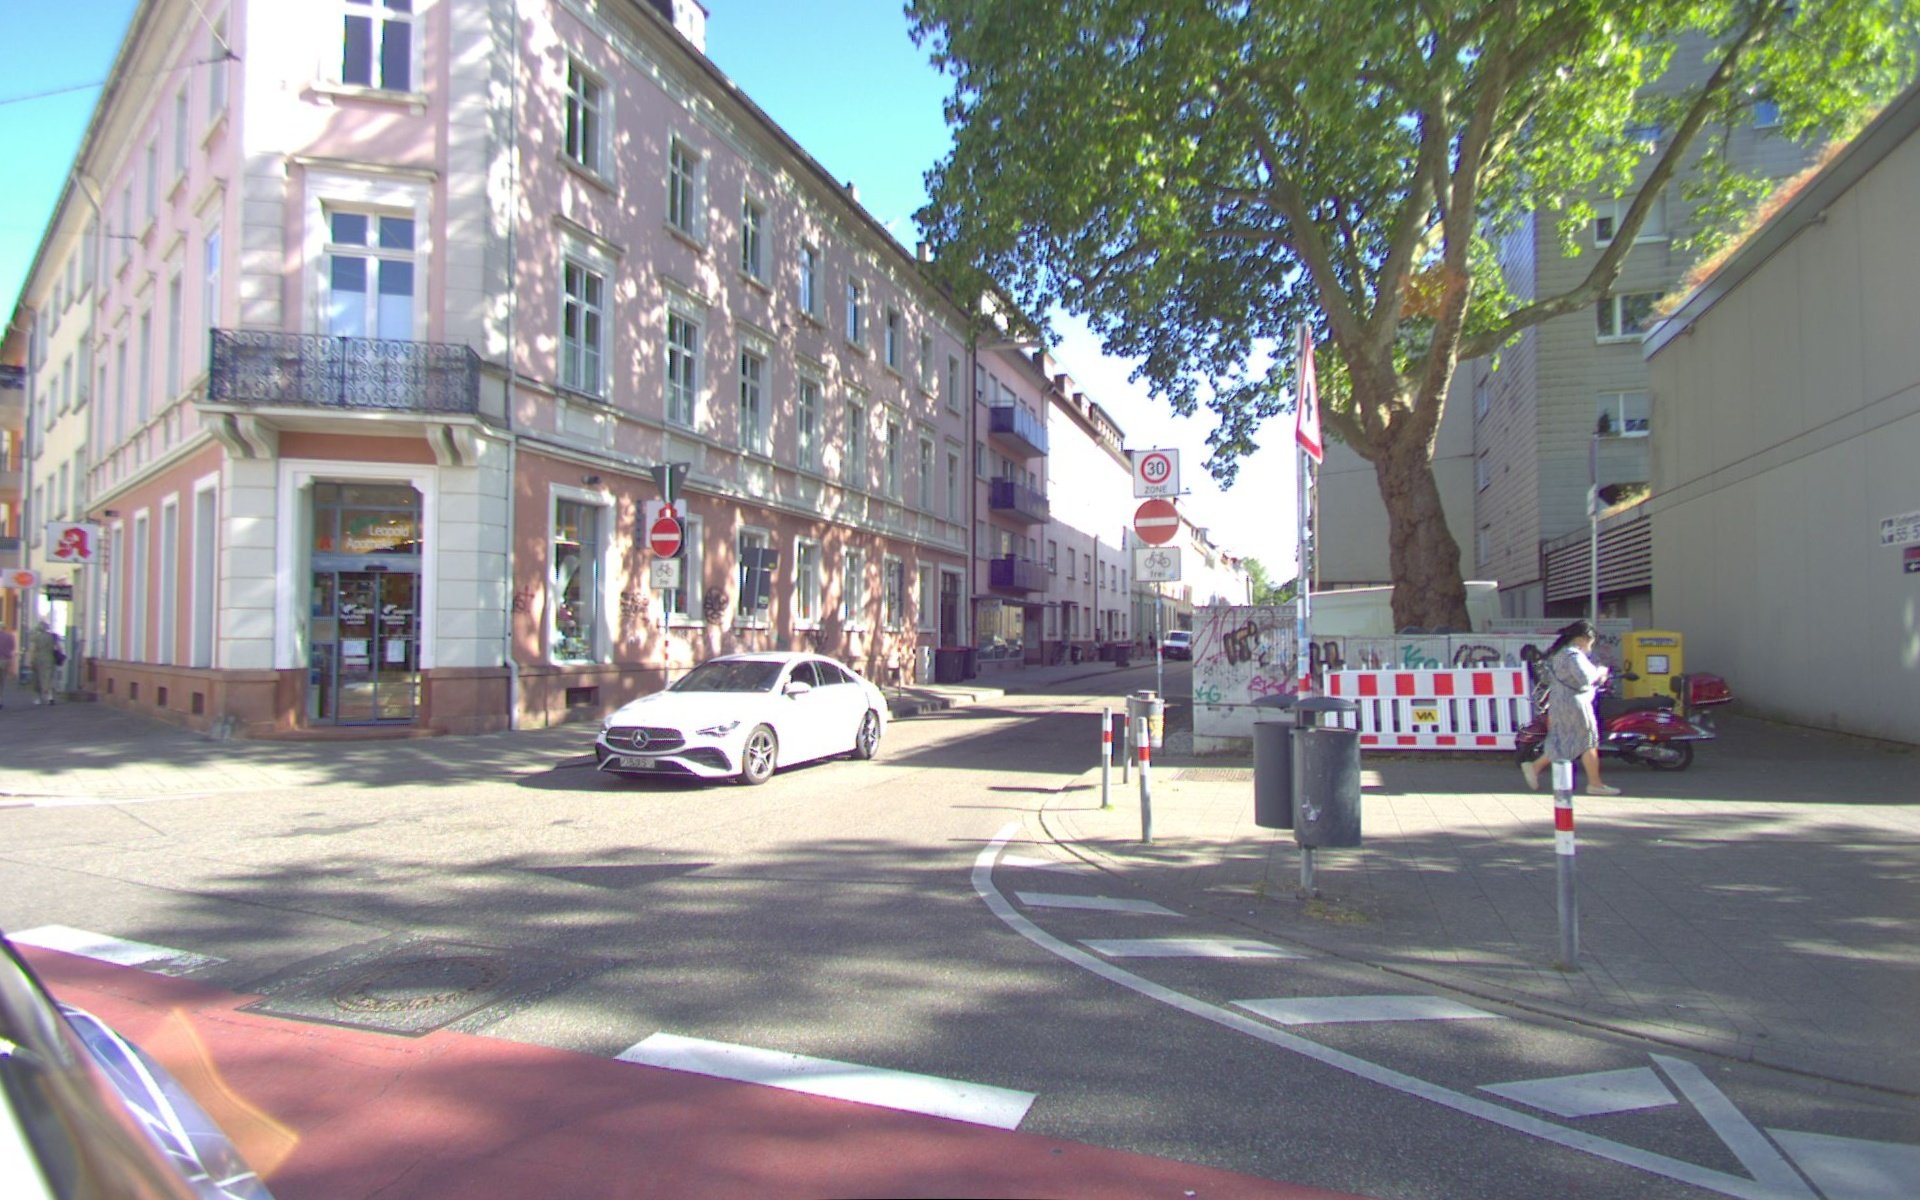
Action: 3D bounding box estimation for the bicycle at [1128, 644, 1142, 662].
[{"bbox_3d":[10.792,3.256,62.484,0.486,1.104,1.919,-1,-3,20],"label":"bicycle"}]

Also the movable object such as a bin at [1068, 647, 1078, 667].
[{"bbox_3d":[5.440,2.744,48.641,0.413,0.947,0.300,2,-2,19],"label":"movable object such as a bin"}]

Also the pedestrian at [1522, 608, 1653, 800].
[{"bbox_3d":[5.516,0.888,8.961,0.843,1.585,0.838,-4,-2,29],"label":"pedestrian"}]

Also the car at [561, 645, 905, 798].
[{"bbox_3d":[-2.469,1.299,12.315,1.851,1.468,4.528,-2,-3,22],"label":"car"}]

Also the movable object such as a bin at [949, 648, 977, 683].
[{"bbox_3d":[0.105,2.145,33.098,0.712,1.092,0.615,2,-2,19],"label":"movable object such as a bin"}]

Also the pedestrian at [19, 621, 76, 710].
[{"bbox_3d":[-19.065,1.347,21.139,0.752,1.778,0.819,-2,-1,43],"label":"pedestrian"}]

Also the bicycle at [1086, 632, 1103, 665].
[{"bbox_3d":[7.114,2.561,53.518,0.400,1.749,2.092,-1,-3,20],"label":"bicycle"}]

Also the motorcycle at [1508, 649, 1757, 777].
[{"bbox_3d":[6.651,1.114,10.136,1.908,1.189,0.665,-3,-3,21],"label":"motorcycle"}]

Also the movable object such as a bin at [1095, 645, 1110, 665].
[{"bbox_3d":[7.774,2.990,55.232,0.711,1.010,0.543,2,-2,19],"label":"movable object such as a bin"}]

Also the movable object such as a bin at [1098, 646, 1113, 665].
[{"bbox_3d":[8.007,3.066,55.771,0.711,1.010,0.543,2,-2,19],"label":"movable object such as a bin"}]

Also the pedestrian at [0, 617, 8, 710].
[{"bbox_3d":[-19.645,1.281,20.440,0.562,1.870,0.708,-1,0,-42],"label":"pedestrian"}]

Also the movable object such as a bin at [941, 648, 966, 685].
[{"bbox_3d":[-0.203,2.042,31.163,0.566,1.066,0.608,2,-2,19],"label":"movable object such as a bin"}]

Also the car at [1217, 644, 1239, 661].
[{"bbox_3d":[27.411,5.328,103.468,1.753,1.721,4.299,-1,-3,19],"label":"car"}]

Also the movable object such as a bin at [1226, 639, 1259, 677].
[{"bbox_3d":[11.584,2.372,41.417,1.232,1.512,1.866,-1,-2,18],"label":"movable object such as a bin"}]

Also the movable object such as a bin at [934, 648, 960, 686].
[{"bbox_3d":[-0.393,2.023,30.610,0.566,1.092,0.650,2,-2,19],"label":"movable object such as a bin"}]

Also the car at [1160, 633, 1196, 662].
[{"bbox_3d":[14.582,3.188,67.540,1.753,1.868,4.298,-1,-3,20],"label":"car"}]

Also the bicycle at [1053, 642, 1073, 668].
[{"bbox_3d":[4.722,2.518,46.209,0.400,1.159,2.011,-1,-3,20],"label":"bicycle"}]

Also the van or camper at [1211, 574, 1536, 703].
[{"bbox_3d":[9.829,1.026,24.663,6.878,2.594,1.986,-5,-4,21],"label":"van or camper"}]
